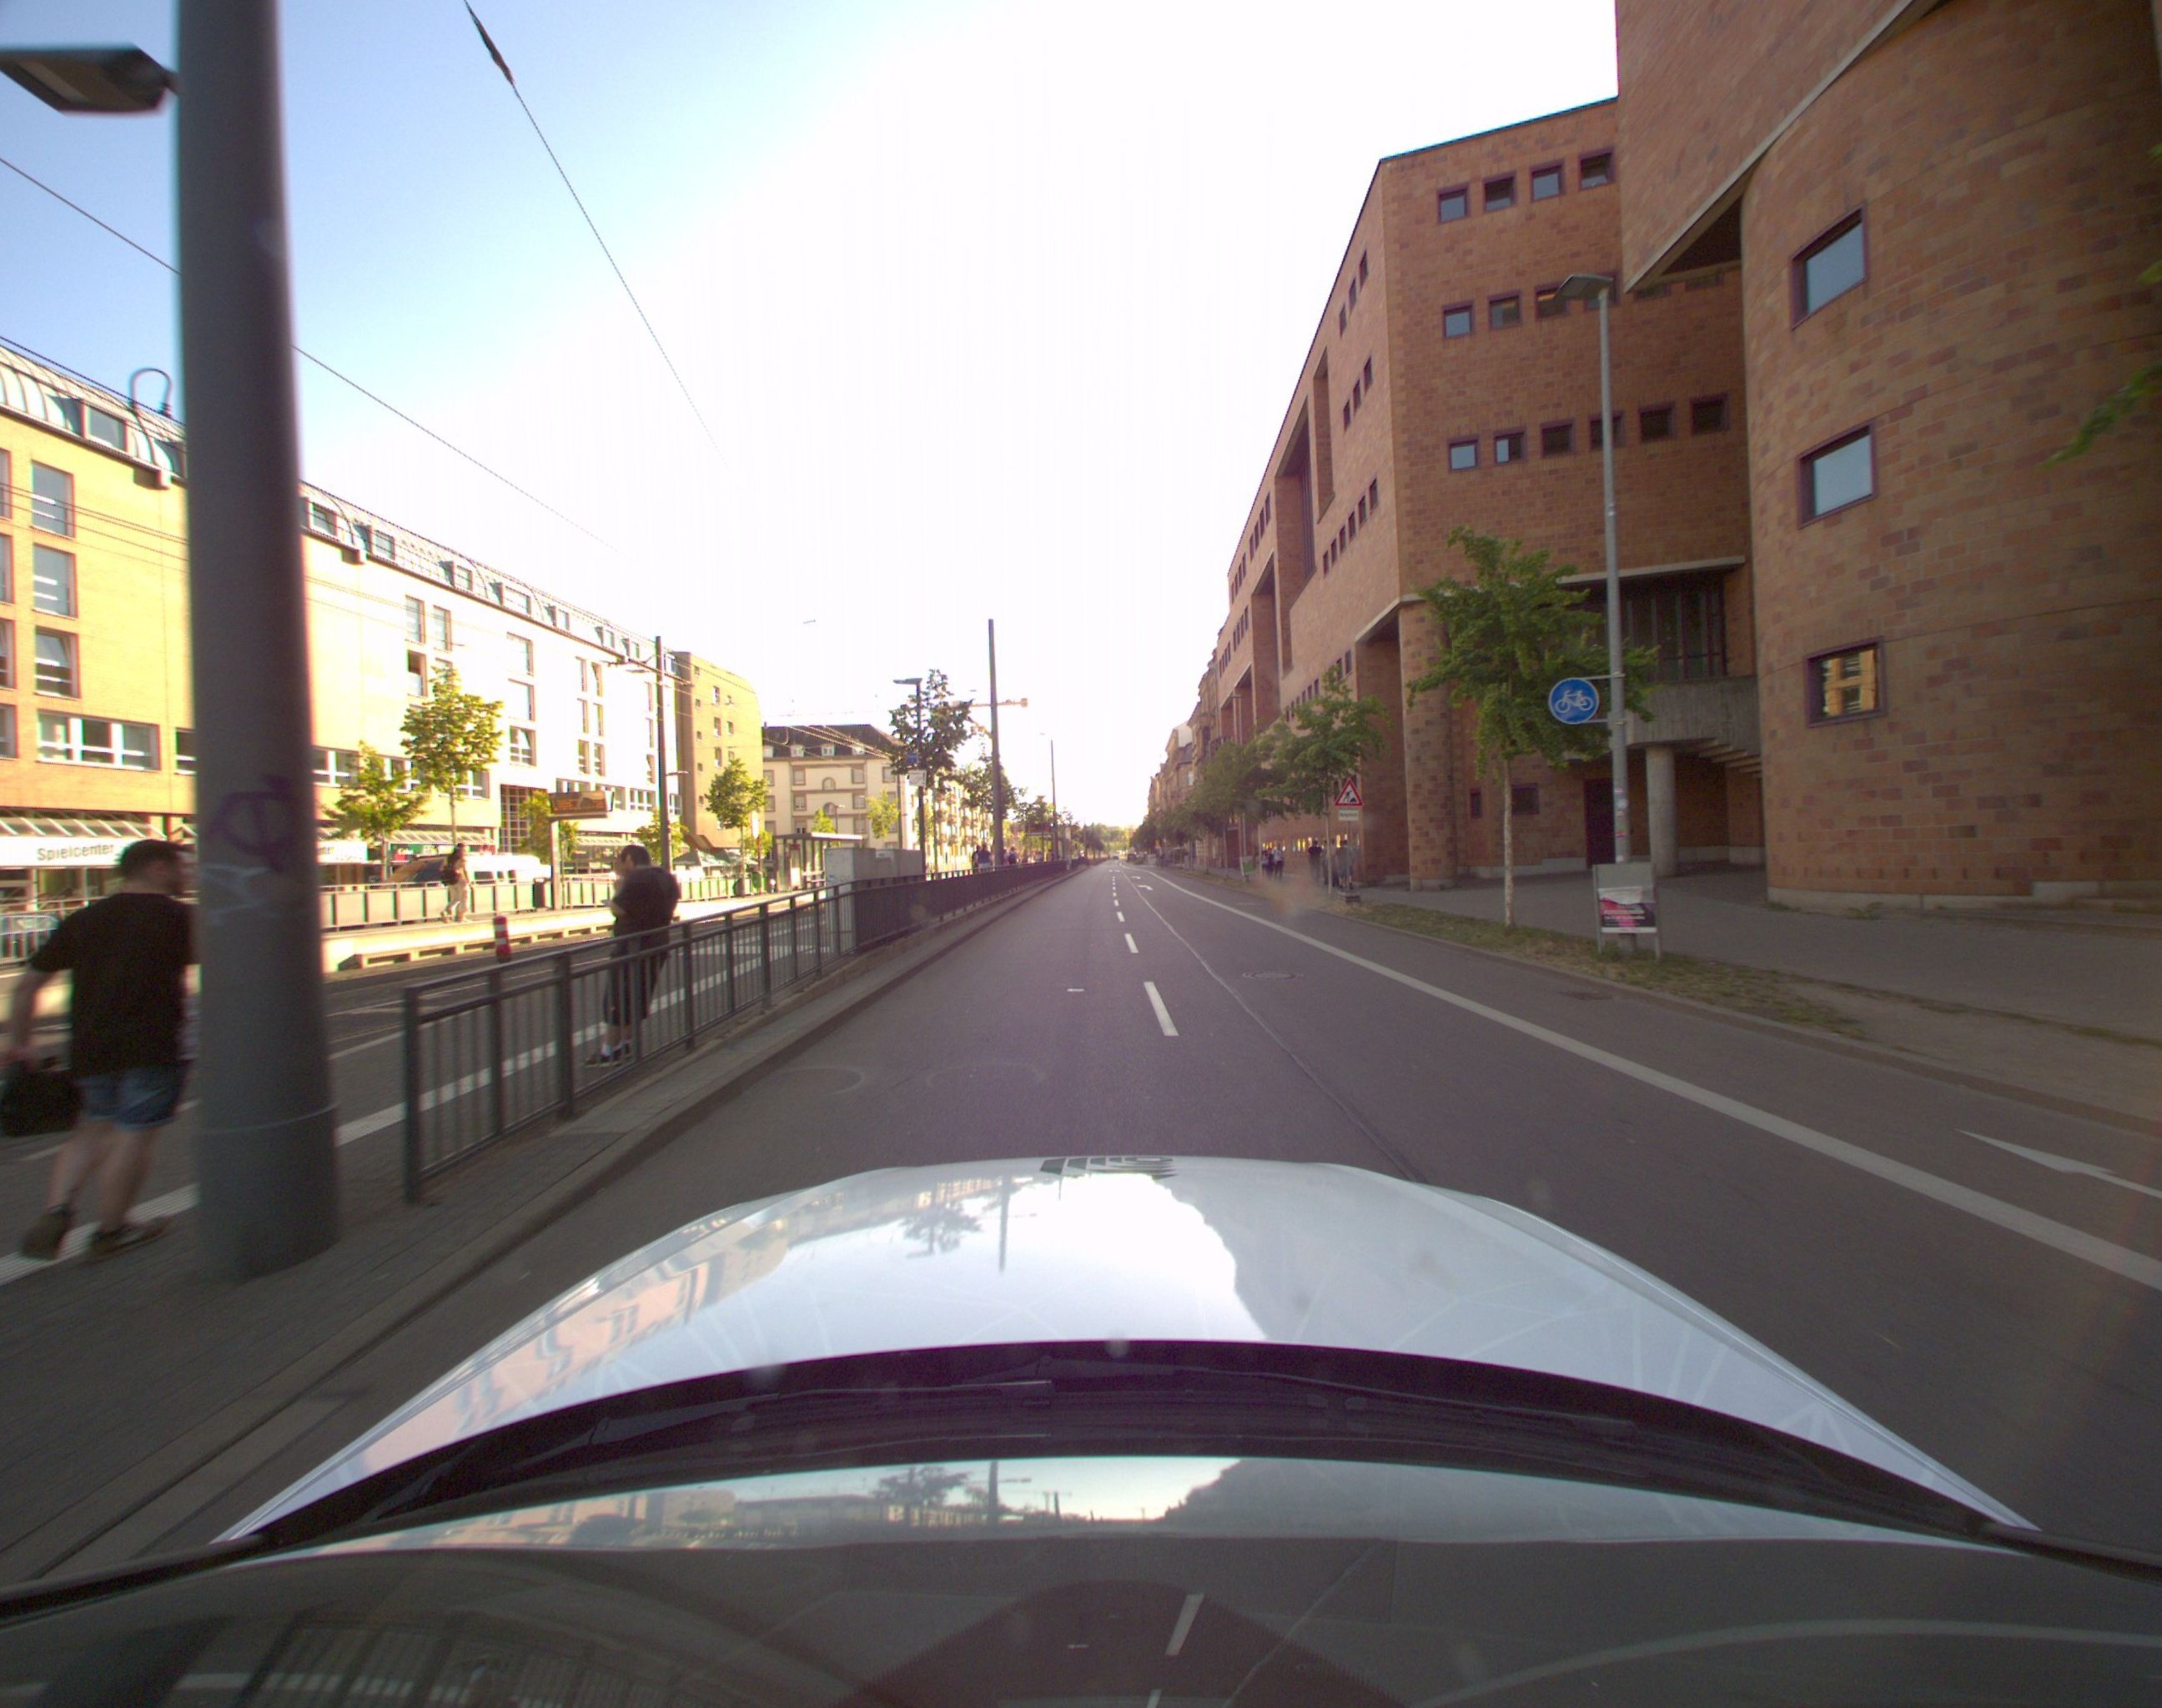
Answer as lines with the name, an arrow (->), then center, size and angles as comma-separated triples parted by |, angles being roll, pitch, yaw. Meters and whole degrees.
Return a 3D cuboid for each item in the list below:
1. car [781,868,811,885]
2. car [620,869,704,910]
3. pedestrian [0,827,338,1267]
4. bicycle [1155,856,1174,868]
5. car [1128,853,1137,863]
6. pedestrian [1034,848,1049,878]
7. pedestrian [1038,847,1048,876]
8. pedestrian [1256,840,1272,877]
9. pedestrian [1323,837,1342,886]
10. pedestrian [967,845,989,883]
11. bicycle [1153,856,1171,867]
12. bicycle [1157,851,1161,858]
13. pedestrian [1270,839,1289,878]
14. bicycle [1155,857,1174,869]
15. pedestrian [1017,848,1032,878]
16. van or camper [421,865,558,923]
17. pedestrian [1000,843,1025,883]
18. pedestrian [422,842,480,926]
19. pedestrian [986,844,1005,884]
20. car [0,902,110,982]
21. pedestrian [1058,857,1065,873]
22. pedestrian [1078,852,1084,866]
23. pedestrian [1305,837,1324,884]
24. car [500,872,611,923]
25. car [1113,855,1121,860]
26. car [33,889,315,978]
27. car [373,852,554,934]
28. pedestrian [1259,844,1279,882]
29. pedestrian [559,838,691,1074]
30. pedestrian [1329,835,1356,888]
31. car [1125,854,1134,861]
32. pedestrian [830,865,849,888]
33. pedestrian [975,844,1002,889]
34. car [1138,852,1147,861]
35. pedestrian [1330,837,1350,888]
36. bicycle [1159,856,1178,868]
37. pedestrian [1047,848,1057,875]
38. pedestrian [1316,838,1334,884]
car -> -29.988, 2.342, 85.768 | 1.833, 1.585, 4.152 | -3, 1, -3
car -> -22.163, 1.833, 43.287 | 1.877, 1.866, 4.322 | -3, 1, 5
pedestrian -> -3.789, 0.691, 3.338 | 0.713, 1.538, 0.848 | -2, 0, -12
bicycle -> 9.070, 0.868, 88.570 | 1.821, 1.064, 0.663 | -5, 1, -3
car -> 10.875, 0.782, 172.696 | 1.877, 1.937, 4.478 | -2, 1, 4
pedestrian -> -2.156, 0.488, 44.671 | 0.670, 1.562, 0.907 | -3, 0, 2
pedestrian -> -2.260, 0.452, 48.392 | 0.503, 1.732, 0.652 | -2, 0, 2
pedestrian -> 8.750, 0.211, 38.983 | 0.536, 1.756, 0.421 | -2, 0, -8
pedestrian -> 9.253, 0.274, 29.966 | 0.532, 1.756, 0.698 | -3, 0, 12
pedestrian -> -4.101, 0.383, 32.436 | 0.679, 1.483, 0.830 | -2, 0, 4
bicycle -> 8.915, 0.855, 90.050 | 1.821, 1.064, 0.663 | -5, 1, -3
bicycle -> 17.216, 0.112, 178.945 | 0.658, 1.402, 2.353 | -3, 1, 2
pedestrian -> 8.763, 0.198, 35.919 | 0.570, 1.713, 0.640 | -2, -1, -3
bicycle -> 8.819, 0.916, 85.818 | 1.821, 1.064, 0.663 | -5, 1, -3
pedestrian -> -3.322, 0.506, 48.118 | 0.717, 1.732, 0.652 | -2, 0, 2
van or camper -> -27.758, 1.797, 38.549 | 1.985, 2.169, 5.623 | -3, 2, 4
pedestrian -> -2.937, 0.388, 35.112 | 0.885, 1.672, 1.096 | -3, 0, 1
pedestrian -> -13.041, 0.614, 16.869 | 0.673, 1.684, 0.577 | -3, 0, 7
pedestrian -> -3.715, 0.419, 35.335 | 0.654, 1.672, 0.672 | -3, 0, 1
car -> -23.592, 1.952, 16.948 | 1.880, 1.532, 4.000 | -3, 1, 0
pedestrian -> -1.506, 0.861, 63.444 | 0.406, 1.190, 0.428 | -2, 0, -10
pedestrian -> -0.004, 0.589, 96.834 | 0.652, 1.643, 0.867 | -2, -1, 2
pedestrian -> 8.919, 0.245, 31.111 | 0.534, 1.756, 0.465 | -2, 0, 1
car -> -22.675, 1.821, 35.370 | 1.880, 1.866, 4.316 | -3, 1, 0
car -> 11.077, 1.044, 250.601 | 1.787, 1.464, 4.011 | -3, 0, 9
car -> -20.553, 1.723, 18.765 | 1.880, 1.532, 4.000 | -3, 1, 0
car -> -20.120, 1.165, 26.899 | 2.038, 2.358, 4.922 | -3, 0, 2
pedestrian -> 8.164, 0.388, 35.371 | 0.516, 1.605, 0.702 | -2, -1, -11
pedestrian -> -3.142, 0.669, 5.639 | 0.485, 1.538, 0.554 | -3, 0, 17
pedestrian -> 8.966, 0.265, 27.895 | 0.728, 1.756, 0.697 | -3, 0, 10
car -> 11.102, 0.766, 185.810 | 1.841, 1.457, 4.161 | -3, 1, 4
pedestrian -> -13.138, 1.205, 44.280 | 0.670, 1.189, 0.907 | -3, 0, 2
pedestrian -> -3.561, 0.464, 31.357 | 0.885, 1.672, 0.672 | -3, 0, 0
car -> 11.831, 0.401, 156.026 | 1.629, 1.486, 4.218 | -4, 1, 5
pedestrian -> 9.133, 0.296, 28.728 | 0.532, 1.756, 0.698 | -3, 0, 12
bicycle -> 9.334, 0.874, 87.175 | 1.821, 1.064, 0.663 | -5, 1, -3
pedestrian -> -1.806, 0.470, 50.447 | 0.503, 1.679, 0.652 | -2, 0, 2
pedestrian -> 9.502, 0.287, 31.735 | 0.534, 1.756, 0.422 | -2, 0, 1
